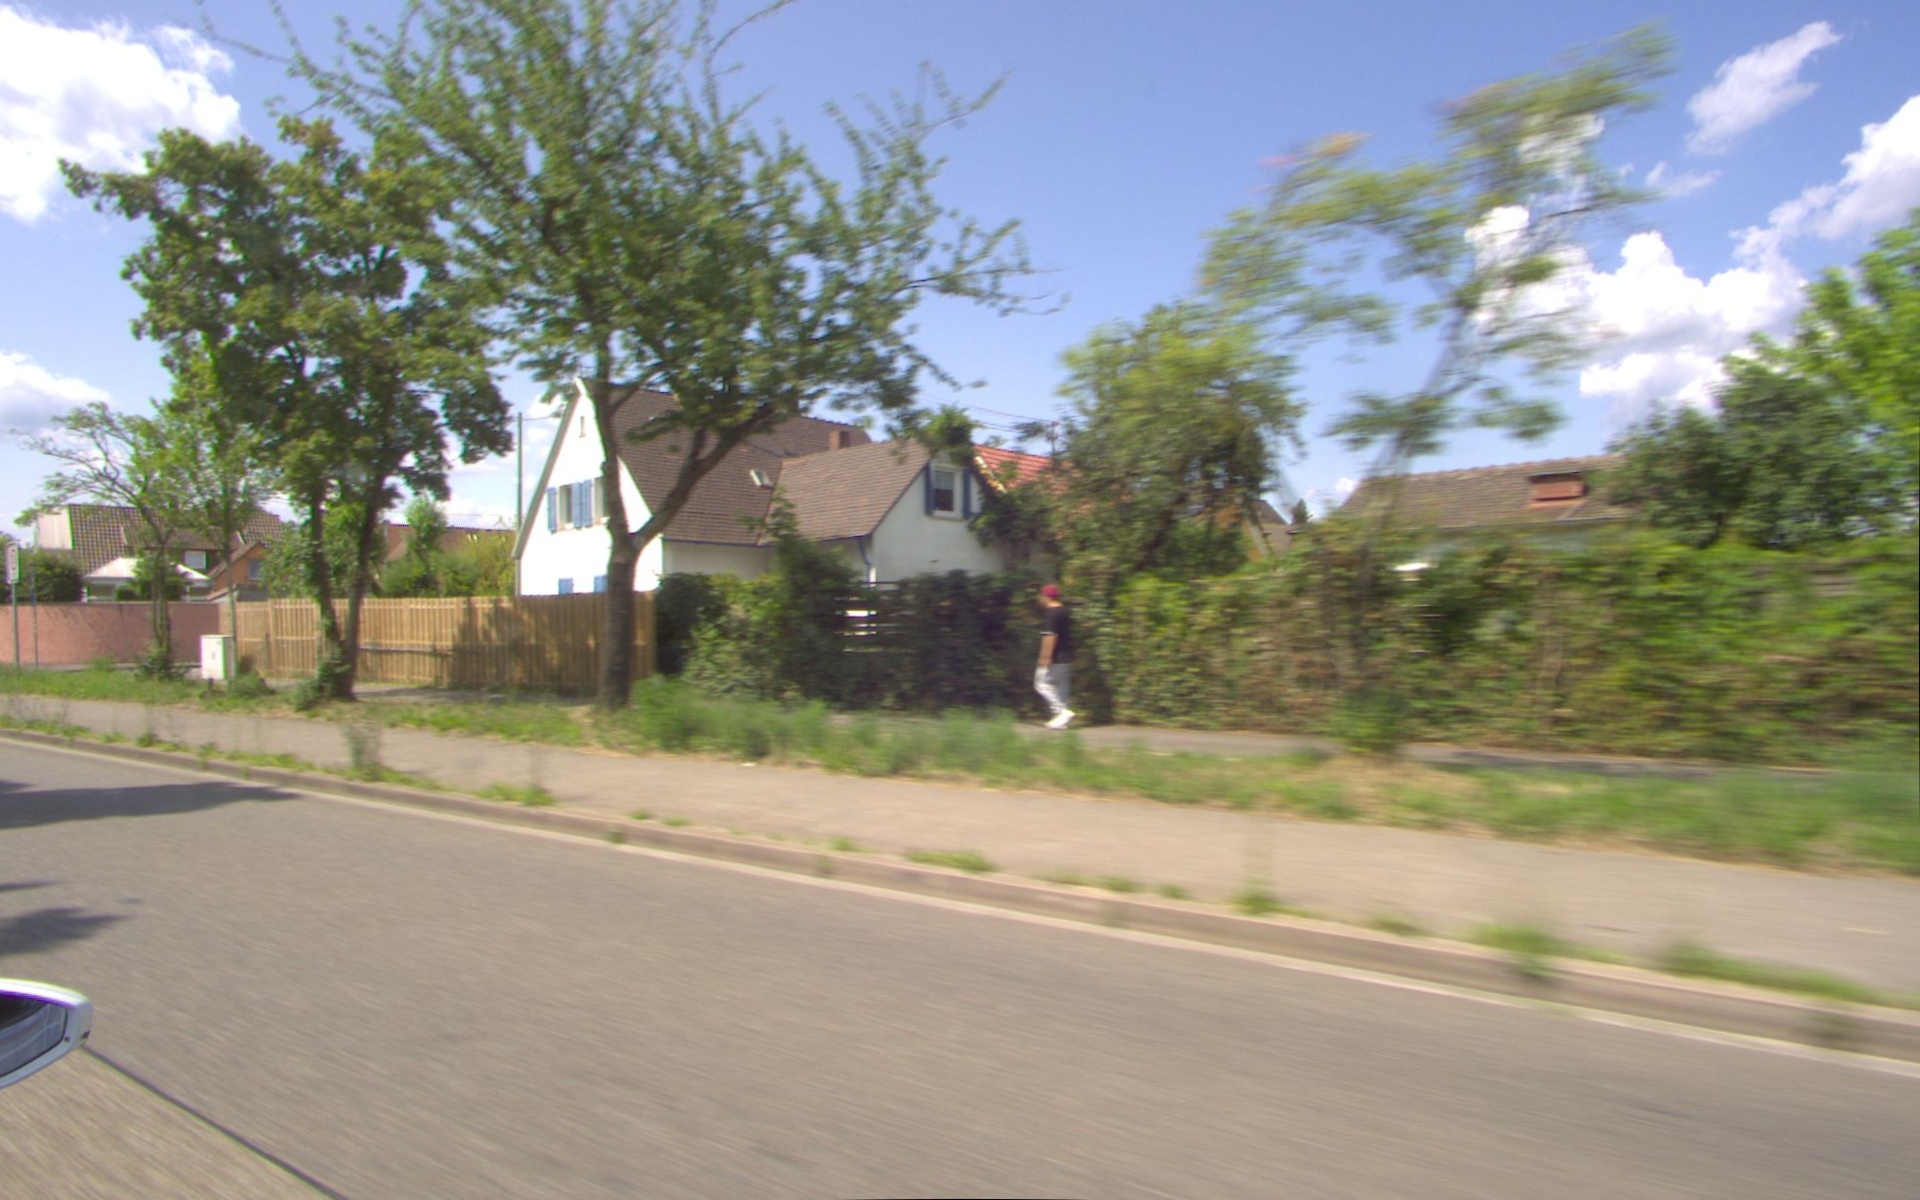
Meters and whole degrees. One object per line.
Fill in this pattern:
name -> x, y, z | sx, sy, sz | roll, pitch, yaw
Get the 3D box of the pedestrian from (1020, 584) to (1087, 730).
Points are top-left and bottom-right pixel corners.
pedestrian -> 1.133, 0.674, 12.066 | 0.625, 1.698, 0.559 | 0, -1, 32
